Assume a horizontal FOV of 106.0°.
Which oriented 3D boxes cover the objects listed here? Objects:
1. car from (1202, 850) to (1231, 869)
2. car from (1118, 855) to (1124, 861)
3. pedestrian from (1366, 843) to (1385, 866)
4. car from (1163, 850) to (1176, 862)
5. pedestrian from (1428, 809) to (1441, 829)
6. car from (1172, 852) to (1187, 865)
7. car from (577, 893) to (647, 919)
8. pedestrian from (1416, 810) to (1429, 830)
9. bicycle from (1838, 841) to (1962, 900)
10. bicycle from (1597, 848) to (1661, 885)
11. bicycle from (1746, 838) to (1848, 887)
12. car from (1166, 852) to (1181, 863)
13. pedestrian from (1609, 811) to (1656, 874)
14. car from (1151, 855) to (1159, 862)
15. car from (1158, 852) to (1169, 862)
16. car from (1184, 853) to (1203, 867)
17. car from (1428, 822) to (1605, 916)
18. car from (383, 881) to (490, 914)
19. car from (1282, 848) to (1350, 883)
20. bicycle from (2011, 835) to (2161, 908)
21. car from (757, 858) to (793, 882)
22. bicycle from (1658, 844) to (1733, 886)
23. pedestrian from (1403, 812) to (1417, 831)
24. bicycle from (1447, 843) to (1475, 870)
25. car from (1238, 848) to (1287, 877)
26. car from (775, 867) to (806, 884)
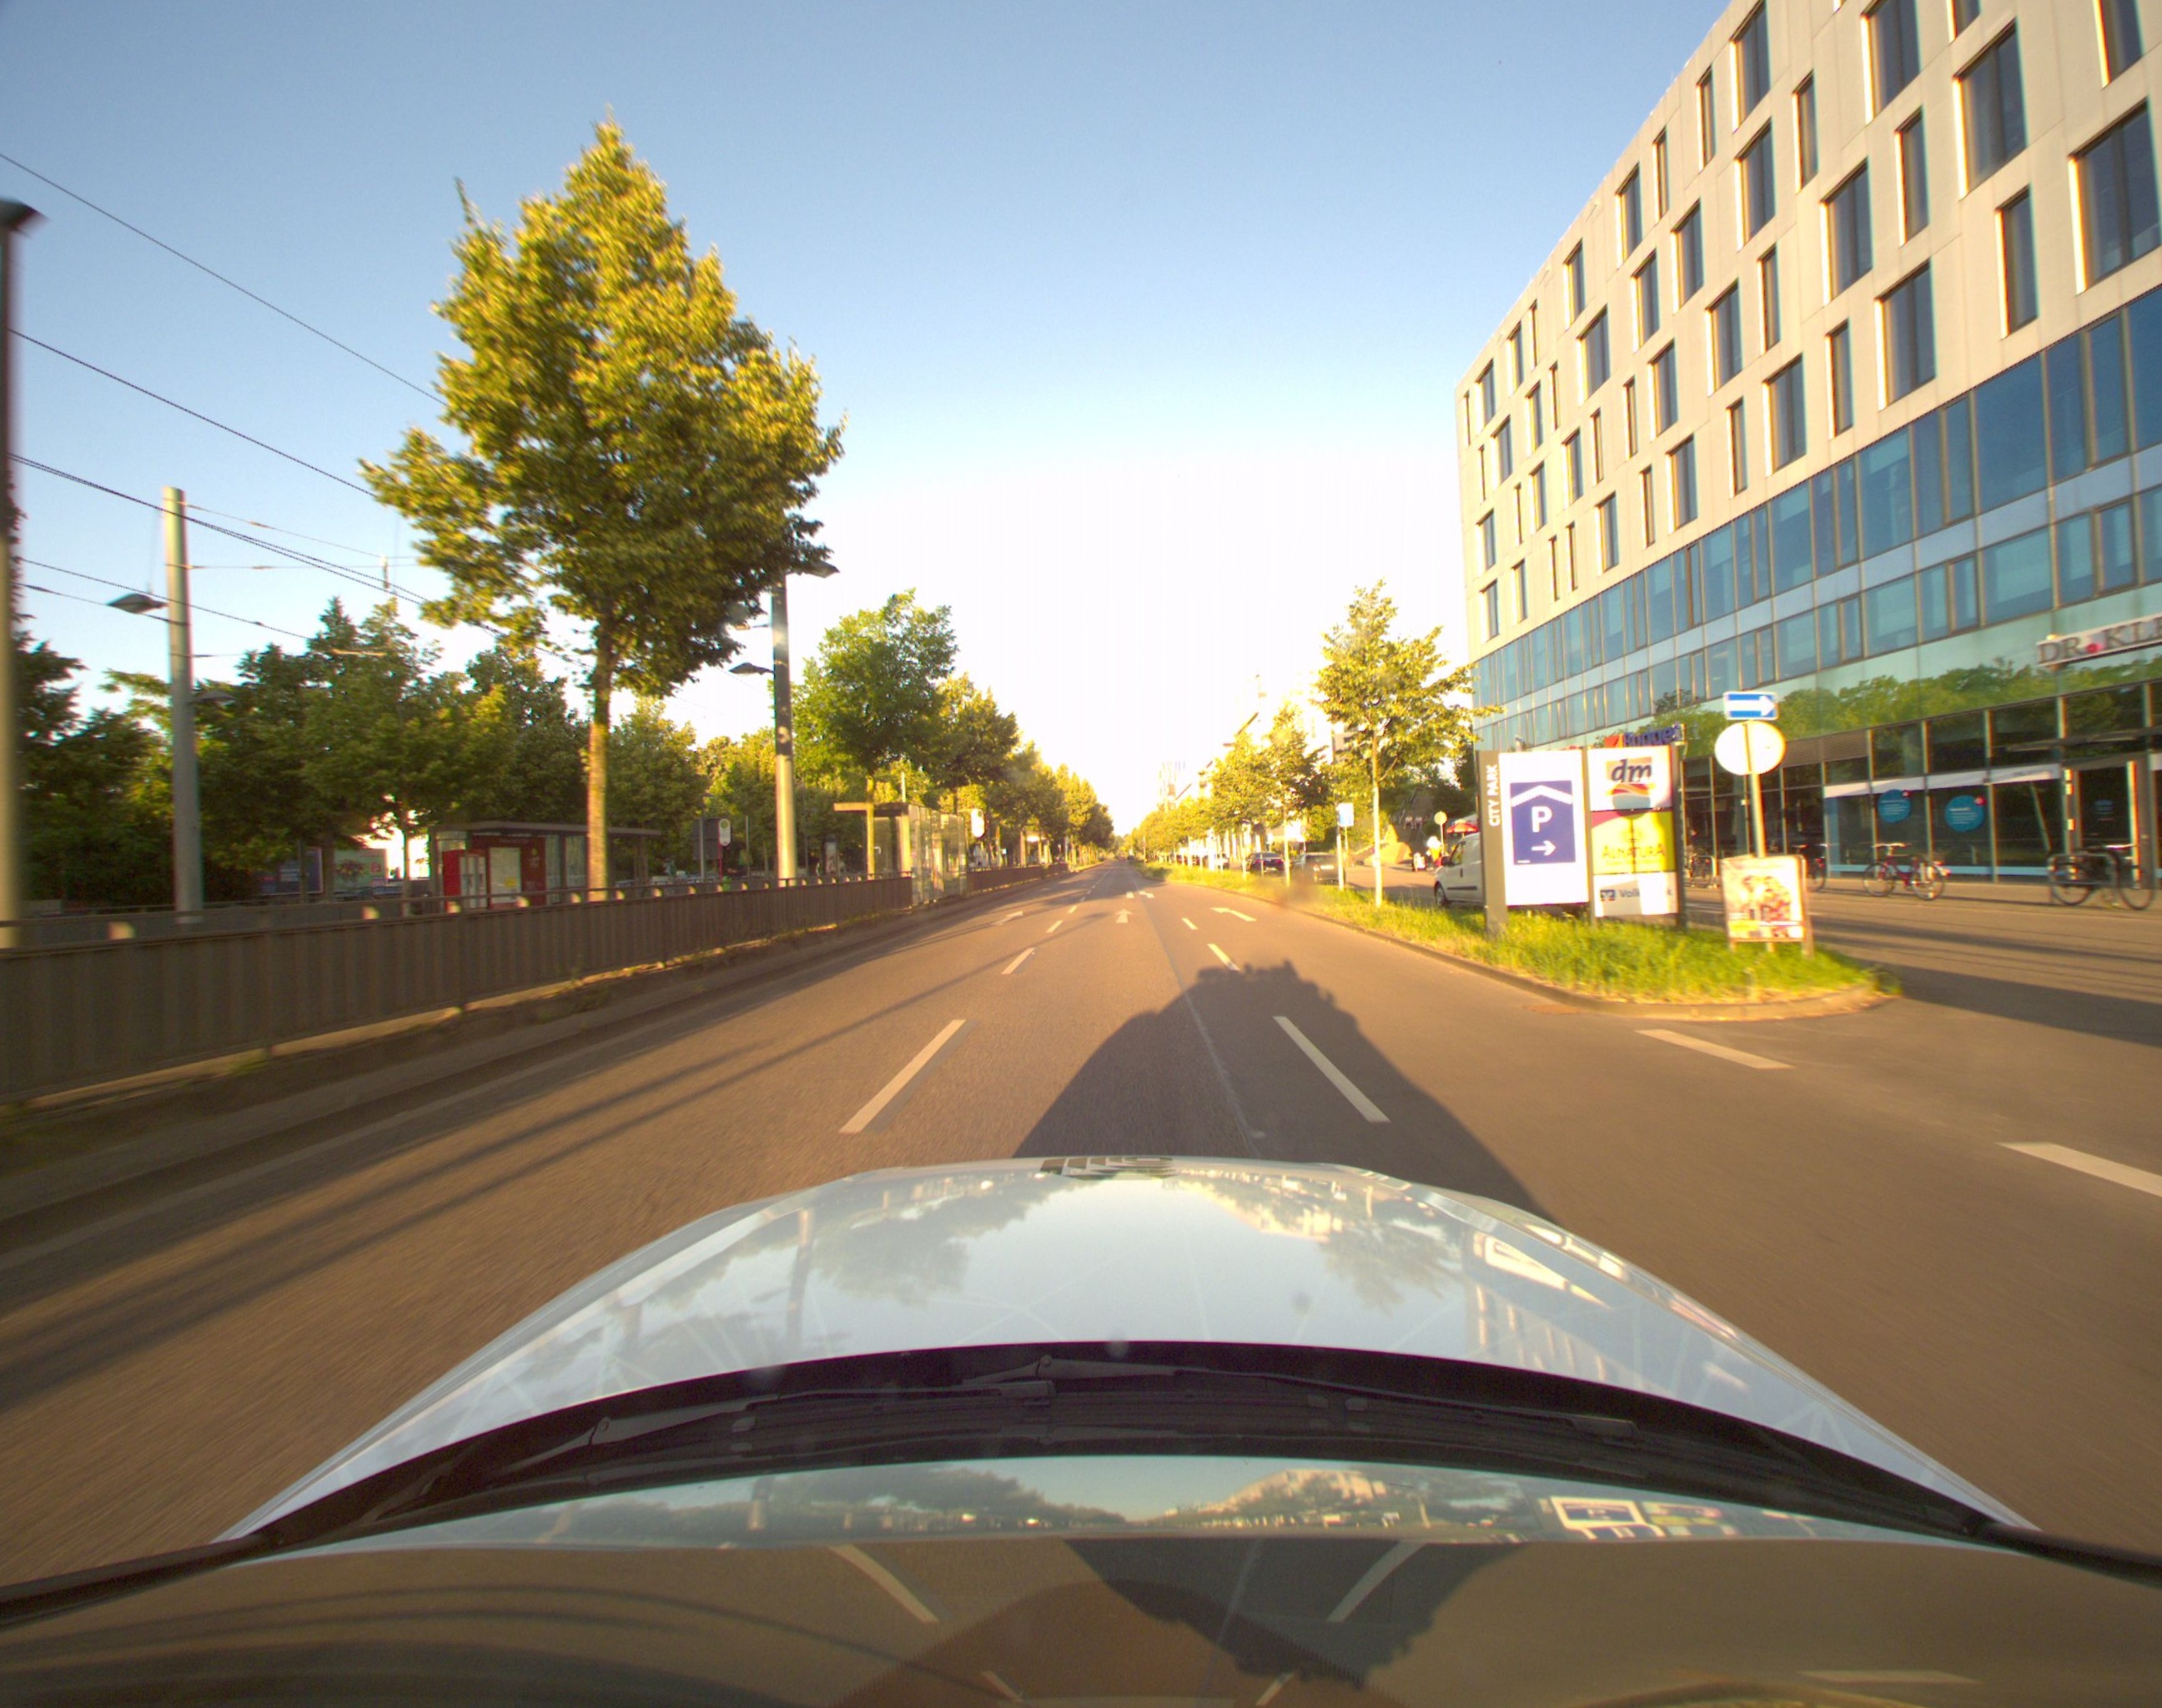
[{"bbox_3d":[12.075,0.485,72.686,1.986,1.697,4.417,0,0,2],"label":"car"},{"bbox_3d":[12.044,1.267,243.536,1.689,1.596,4.001,-4,-1,2],"label":"car"},{"bbox_3d":[19.293,-0.002,53.387,0.821,1.442,1.056,-2,1,2],"label":"pedestrian"},{"bbox_3d":[15.348,0.400,141.402,1.986,2.013,4.002,-2,0,2],"label":"car"},{"bbox_3d":[28.163,-2.778,64.873,0.804,1.455,1.119,-4,-1,28],"label":"pedestrian"},{"bbox_3d":[14.401,0.696,119.373,1.887,1.771,3.948,-2,0,2],"label":"car"},{"bbox_3d":[-32.779,3.635,57.064,1.983,1.464,4.252,-3,0,7],"label":"car"},{"bbox_3d":[27.428,-2.726,65.436,0.804,1.455,1.119,-4,-1,28],"label":"pedestrian"},{"bbox_3d":[16.190,0.298,16.176,0.630,1.068,2.129,-2,0,12],"label":"bicycle"},{"bbox_3d":[16.610,0.363,24.752,0.631,1.068,2.125,-2,0,5],"label":"bicycle"},{"bbox_3d":[16.627,0.186,18.986,0.631,1.068,2.125,-2,0,5],"label":"bicycle"},{"bbox_3d":[14.355,0.481,126.185,1.767,1.636,3.559,-2,0,-2],"label":"car"},{"bbox_3d":[19.078,-0.402,28.201,0.808,2.089,1.114,-4,-1,5],"label":"pedestrian"},{"bbox_3d":[18.887,1.122,208.126,1.689,1.596,4.001,-4,-1,2],"label":"car"},{"bbox_3d":[16.828,0.599,166.539,1.986,2.013,4.002,-2,0,2],"label":"car"},{"bbox_3d":[13.215,0.694,95.661,2.019,1.697,4.404,-1,0,6],"label":"car"},{"bbox_3d":[9.513,0.310,18.251,1.843,1.828,4.399,-1,0,3],"label":"car"},{"bbox_3d":[-34.257,2.263,43.466,1.983,1.464,4.252,-3,0,7],"label":"car"},{"bbox_3d":[10.227,0.483,35.773,1.818,1.435,4.461,0,0,2],"label":"car"},{"bbox_3d":[16.250,0.258,13.092,0.539,1.068,2.010,-2,0,9],"label":"bicycle"},{"bbox_3d":[-30.500,1.580,81.257,1.767,2.184,4.004,-2,0,3],"label":"car"},{"bbox_3d":[16.657,0.292,22.144,0.631,1.068,2.126,-2,0,7],"label":"bicycle"},{"bbox_3d":[26.672,-2.634,66.005,0.804,1.455,1.119,-4,-1,28],"label":"pedestrian"},{"bbox_3d":[17.295,0.117,37.055,0.489,1.155,1.636,-2,0,1],"label":"bicycle"},{"bbox_3d":[11.050,0.507,49.775,1.987,1.697,4.593,0,0,0],"label":"car"},{"bbox_3d":[-36.349,2.673,101.958,1.897,1.816,4.227,-4,-1,6],"label":"car"}]
